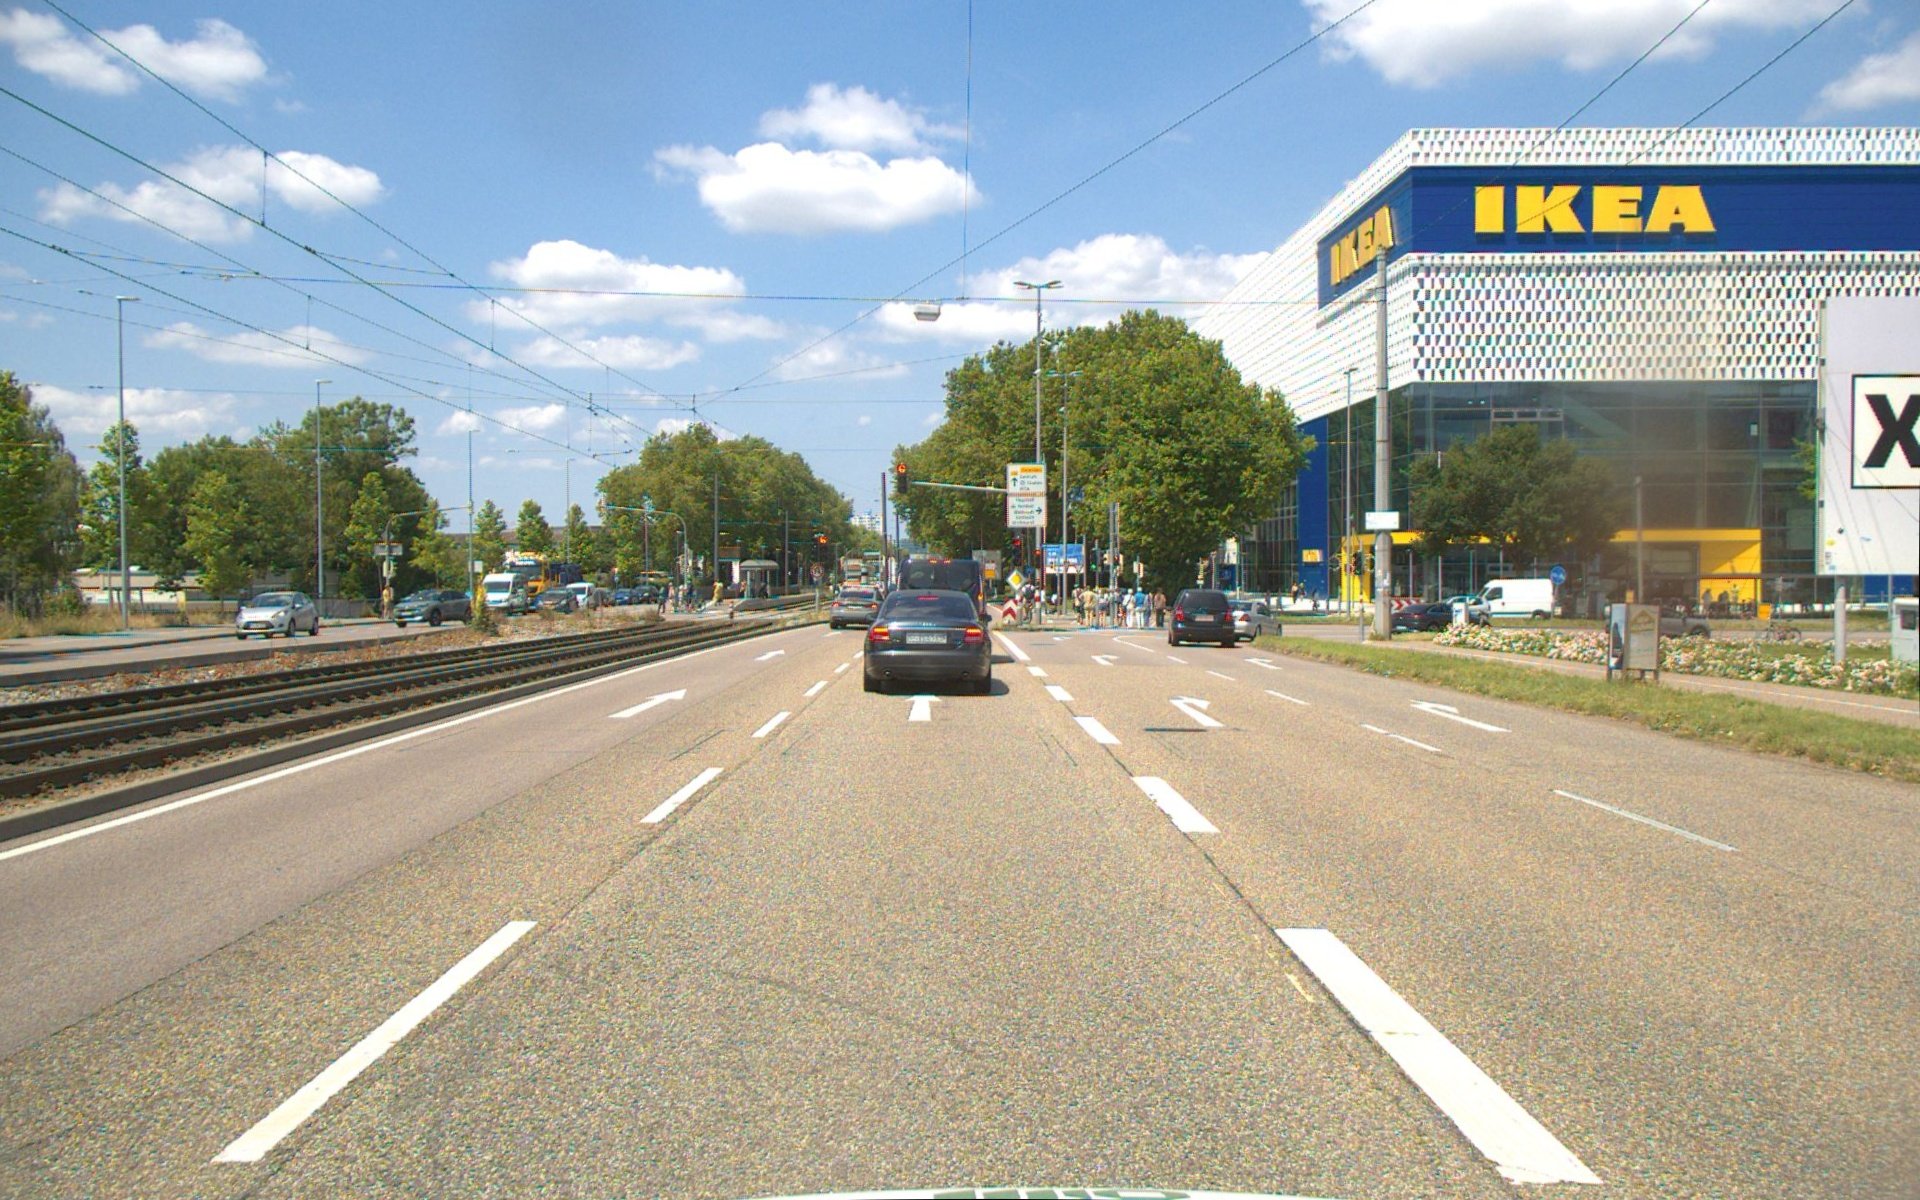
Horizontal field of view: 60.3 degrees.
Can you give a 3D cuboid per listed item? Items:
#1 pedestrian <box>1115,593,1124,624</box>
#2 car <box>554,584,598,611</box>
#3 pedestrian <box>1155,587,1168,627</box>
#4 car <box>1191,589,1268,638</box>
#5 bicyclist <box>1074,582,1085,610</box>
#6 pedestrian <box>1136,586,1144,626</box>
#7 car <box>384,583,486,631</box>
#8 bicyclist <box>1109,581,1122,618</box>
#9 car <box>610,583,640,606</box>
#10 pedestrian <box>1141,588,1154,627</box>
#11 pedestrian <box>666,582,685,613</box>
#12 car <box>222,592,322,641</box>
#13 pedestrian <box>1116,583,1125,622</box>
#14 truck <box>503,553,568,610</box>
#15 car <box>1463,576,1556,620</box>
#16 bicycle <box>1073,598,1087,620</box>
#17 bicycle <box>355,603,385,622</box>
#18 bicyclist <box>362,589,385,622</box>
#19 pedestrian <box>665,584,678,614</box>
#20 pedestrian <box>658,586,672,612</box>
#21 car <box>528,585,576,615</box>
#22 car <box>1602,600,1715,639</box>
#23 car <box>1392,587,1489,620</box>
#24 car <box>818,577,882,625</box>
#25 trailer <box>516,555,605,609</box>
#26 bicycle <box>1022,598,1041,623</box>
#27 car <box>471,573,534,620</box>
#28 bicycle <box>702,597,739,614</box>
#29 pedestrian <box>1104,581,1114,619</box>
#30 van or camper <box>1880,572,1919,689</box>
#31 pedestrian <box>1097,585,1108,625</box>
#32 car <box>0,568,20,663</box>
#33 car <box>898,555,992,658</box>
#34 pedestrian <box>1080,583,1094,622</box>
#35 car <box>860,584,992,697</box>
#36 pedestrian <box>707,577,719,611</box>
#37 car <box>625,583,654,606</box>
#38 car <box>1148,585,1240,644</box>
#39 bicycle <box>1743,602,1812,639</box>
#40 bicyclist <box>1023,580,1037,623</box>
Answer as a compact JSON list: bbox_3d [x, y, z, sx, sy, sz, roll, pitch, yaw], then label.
[{"bbox_3d":[6.738,0.353,69.795,0.365,1.326,0.365,1,0,2],"label":"pedestrian"},{"bbox_3d":[-25.057,-0.193,108.072,1.785,1.699,4.462,1,1,1],"label":"car"},{"bbox_3d":[8.740,0.296,71.788,0.510,1.699,0.494,1,0,2],"label":"pedestrian"},{"bbox_3d":[9.238,0.433,56.395,1.952,1.512,4.168,2,1,18],"label":"car"},{"bbox_3d":[5.170,-0.163,71.617,0.461,1.214,0.791,0,0,2],"label":"bicyclist"},{"bbox_3d":[7.577,0.241,69.678,0.314,1.663,0.377,1,0,2],"label":"pedestrian"},{"bbox_3d":[-22.404,0.280,70.762,1.952,1.951,4.413,2,1,18],"label":"car"},{"bbox_3d":[7.700,-0.014,81.906,0.517,1.795,0.828,0,0,13],"label":"bicyclist"},{"bbox_3d":[-28.061,-0.475,138.695,1.781,1.916,3.999,1,0,-1],"label":"car"},{"bbox_3d":[8.171,0.318,71.967,0.493,1.663,0.449,1,0,2],"label":"pedestrian"},{"bbox_3d":[-16.560,-0.151,96.289,0.806,1.750,0.775,1,0,21],"label":"pedestrian"},{"bbox_3d":[-21.974,0.493,52.995,1.787,1.440,3.880,-2,1,-5],"label":"car"},{"bbox_3d":[6.979,0.116,71.866,0.332,1.663,0.377,1,0,2],"label":"pedestrian"},{"bbox_3d":[-28.094,-1.194,109.788,2.711,3.631,6.438,1,0,-1],"label":"truck"},{"bbox_3d":[30.389,-0.103,91.589,4.658,2.349,2.002,1,0,13],"label":"car"},{"bbox_3d":[5.190,0.392,71.650,0.538,0.892,1.698,1,0,2],"label":"bicycle"},{"bbox_3d":[-32.909,0.688,92.269,1.461,1.004,0.485,1,0,-5],"label":"bicycle"},{"bbox_3d":[-32.730,0.293,92.282,1.097,1.805,0.340,1,0,-6],"label":"bicyclist"},{"bbox_3d":[-16.140,-0.034,92.533,0.671,1.666,0.572,0,0,-4],"label":"pedestrian"},{"bbox_3d":[-16.648,-0.080,93.339,0.671,1.468,0.572,0,0,-4],"label":"pedestrian"},{"bbox_3d":[-24.823,-0.031,100.710,1.785,1.699,4.461,1,1,-1],"label":"car"},{"bbox_3d":[30.456,0.829,72.185,4.047,1.512,2.000,2,1,0],"label":"car"},{"bbox_3d":[24.635,0.164,84.904,4.403,1.512,2.001,2,1,3],"label":"car"},{"bbox_3d":[-3.758,0.002,57.118,1.953,1.512,4.000,2,1,-1],"label":"car"},{"bbox_3d":[-28.224,-1.254,117.634,2.711,3.580,15.875,1,0,-1],"label":"trailer"},{"bbox_3d":[3.029,0.438,70.244,0.673,1.011,2.751,1,0,0],"label":"bicycle"},{"bbox_3d":[-27.848,-0.253,100.882,2.198,2.634,6.233,-2,1,-2],"label":"car"},{"bbox_3d":[-13.476,0.325,93.073,2.019,0.941,0.751,1,0,-11],"label":"bicycle"},{"bbox_3d":[6.481,0.001,71.893,0.373,1.663,0.377,1,0,2],"label":"pedestrian"},{"bbox_3d":[26.482,0.837,42.023,2.454,3.073,7.226,1,0,3],"label":"van or camper"},{"bbox_3d":[6.003,0.222,69.757,0.435,1.663,0.430,1,0,2],"label":"pedestrian"},{"bbox_3d":[-19.889,0.365,30.868,1.954,1.862,4.967,-2,1,-2],"label":"car"},{"bbox_3d":[-0.328,0.116,33.953,1.799,1.984,3.999,0,0,-1],"label":"car"},{"bbox_3d":[5.361,0.106,69.778,0.542,1.663,0.433,1,0,2],"label":"pedestrian"},{"bbox_3d":[-0.480,0.525,24.297,1.756,1.480,4.000,-1,1,-1],"label":"car"},{"bbox_3d":[-15.163,-0.358,101.563,0.672,2.049,0.572,0,0,-5],"label":"pedestrian"},{"bbox_3d":[-28.074,-0.502,145.078,1.781,1.916,3.999,1,0,-1],"label":"car"},{"bbox_3d":[6.516,0.367,46.446,1.953,1.512,4.000,2,1,-1],"label":"car"},{"bbox_3d":[34.012,0.839,68.811,2.372,1.507,0.989,1,0,4],"label":"bicycle"},{"bbox_3d":[2.967,0.053,70.039,0.518,1.820,1.088,0,0,0],"label":"bicyclist"}]
